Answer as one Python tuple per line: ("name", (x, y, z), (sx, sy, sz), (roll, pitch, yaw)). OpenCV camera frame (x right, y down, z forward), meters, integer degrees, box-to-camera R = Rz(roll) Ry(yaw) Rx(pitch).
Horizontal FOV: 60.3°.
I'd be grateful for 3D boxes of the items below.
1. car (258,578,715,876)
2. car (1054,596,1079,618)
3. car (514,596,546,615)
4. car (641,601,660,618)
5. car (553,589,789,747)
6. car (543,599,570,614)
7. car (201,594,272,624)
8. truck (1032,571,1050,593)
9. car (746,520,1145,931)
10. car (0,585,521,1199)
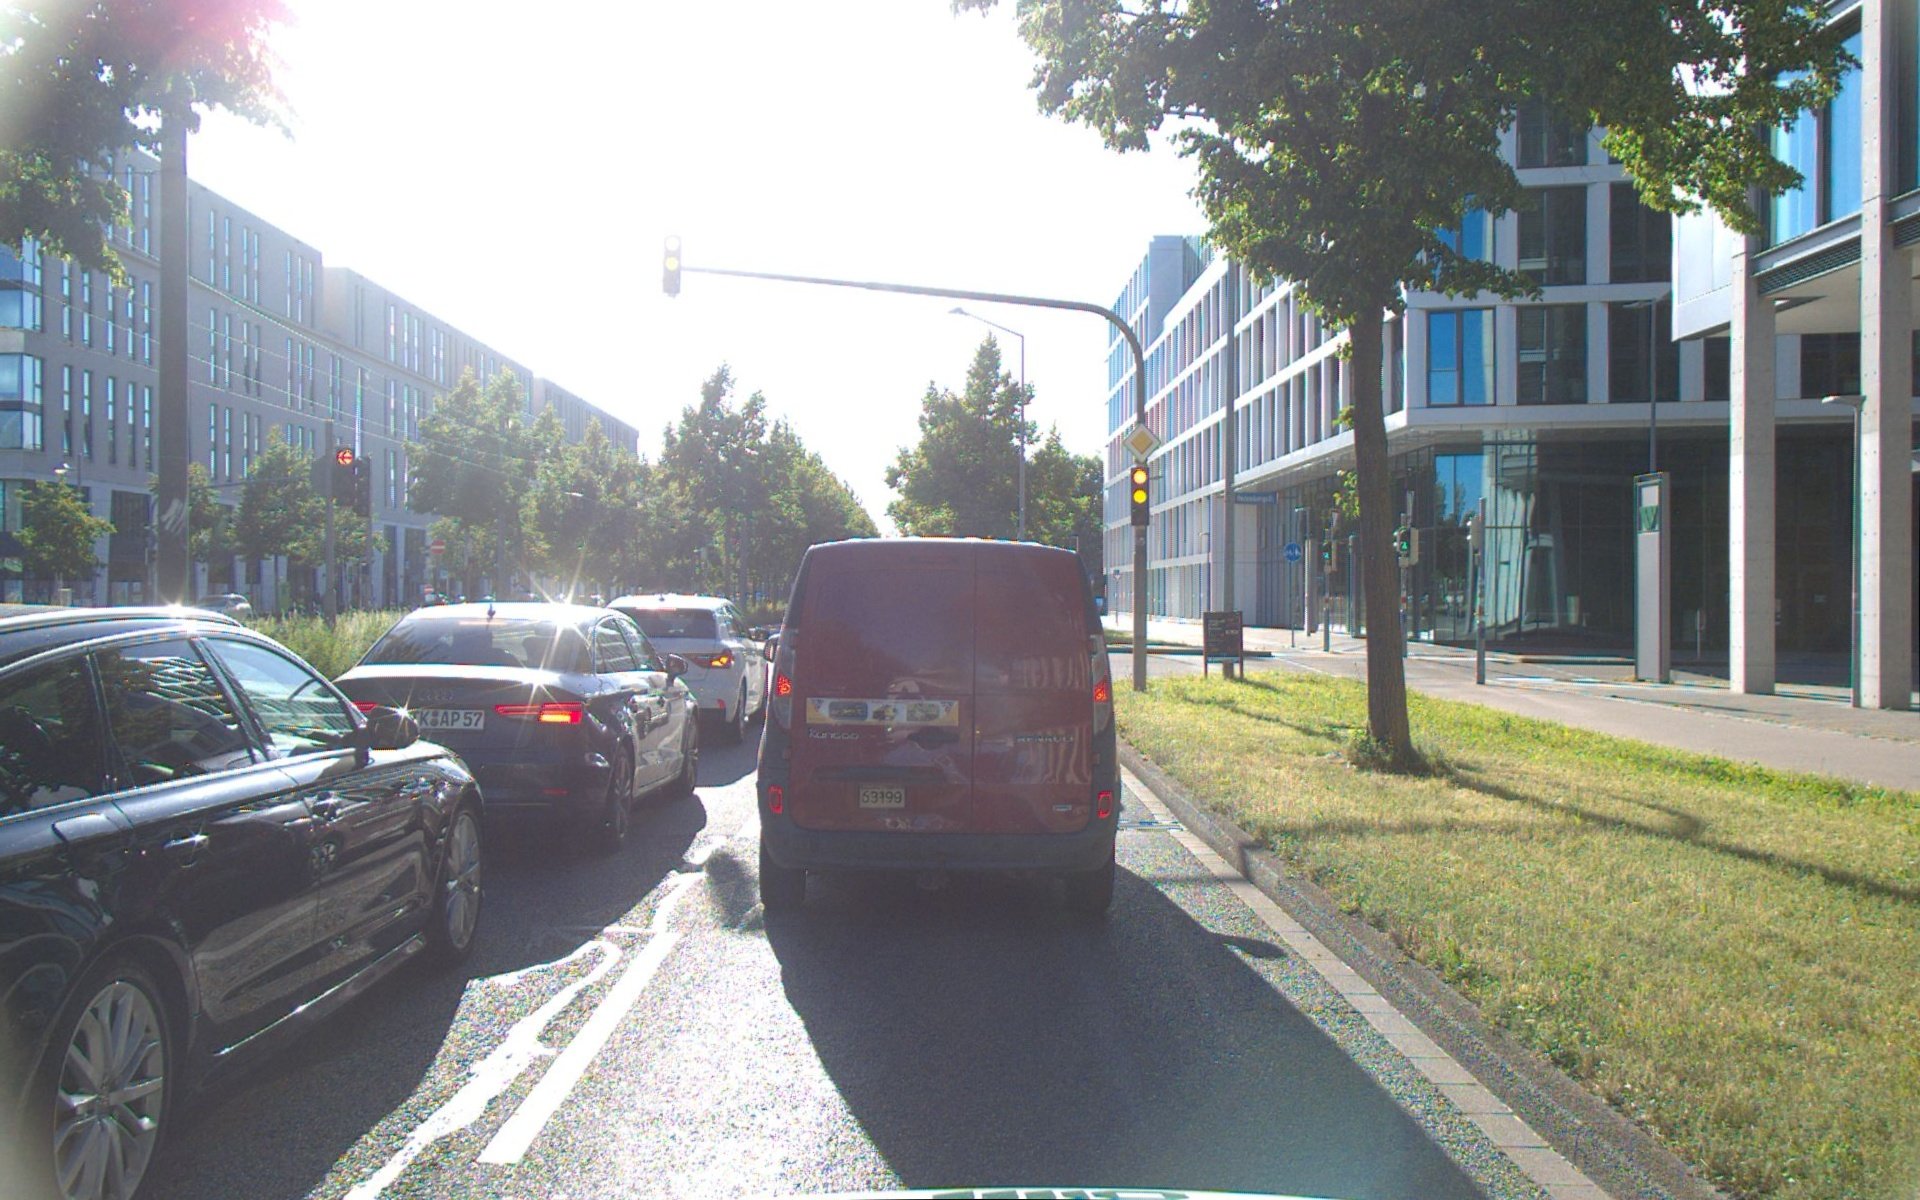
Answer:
("car", (-2.783, 0.655, 10.710), (1.771, 1.554, 4.113), (0, 0, 0))
("car", (8.206, 0.518, 127.988), (1.722, 1.640, 3.903), (0, 0, 0))
("car", (-35.347, 0.447, 136.009), (1.740, 1.555, 3.805), (0, 0, -1))
("car", (-37.140, 1.130, 198.676), (1.694, 2.049, 3.998), (0, 0, -3))
("car", (-2.906, 0.623, 17.455), (1.771, 1.460, 4.113), (0, 0, 0))
("car", (-36.347, 0.597, 149.050), (1.548, 1.366, 3.711), (0, 0, -1))
("car", (-34.598, 0.411, 79.215), (1.548, 1.366, 4.470), (0, 0, -1))
("truck", (9.734, -2.194, 199.060), (1.794, 2.545, 5.930), (0, 0, -1))
("car", (-0.066, 0.548, 9.412), (1.771, 1.825, 4.113), (0, 0, 0))
("car", (-2.731, 0.702, 4.813), (1.771, 1.482, 4.507), (0, 0, -1))
